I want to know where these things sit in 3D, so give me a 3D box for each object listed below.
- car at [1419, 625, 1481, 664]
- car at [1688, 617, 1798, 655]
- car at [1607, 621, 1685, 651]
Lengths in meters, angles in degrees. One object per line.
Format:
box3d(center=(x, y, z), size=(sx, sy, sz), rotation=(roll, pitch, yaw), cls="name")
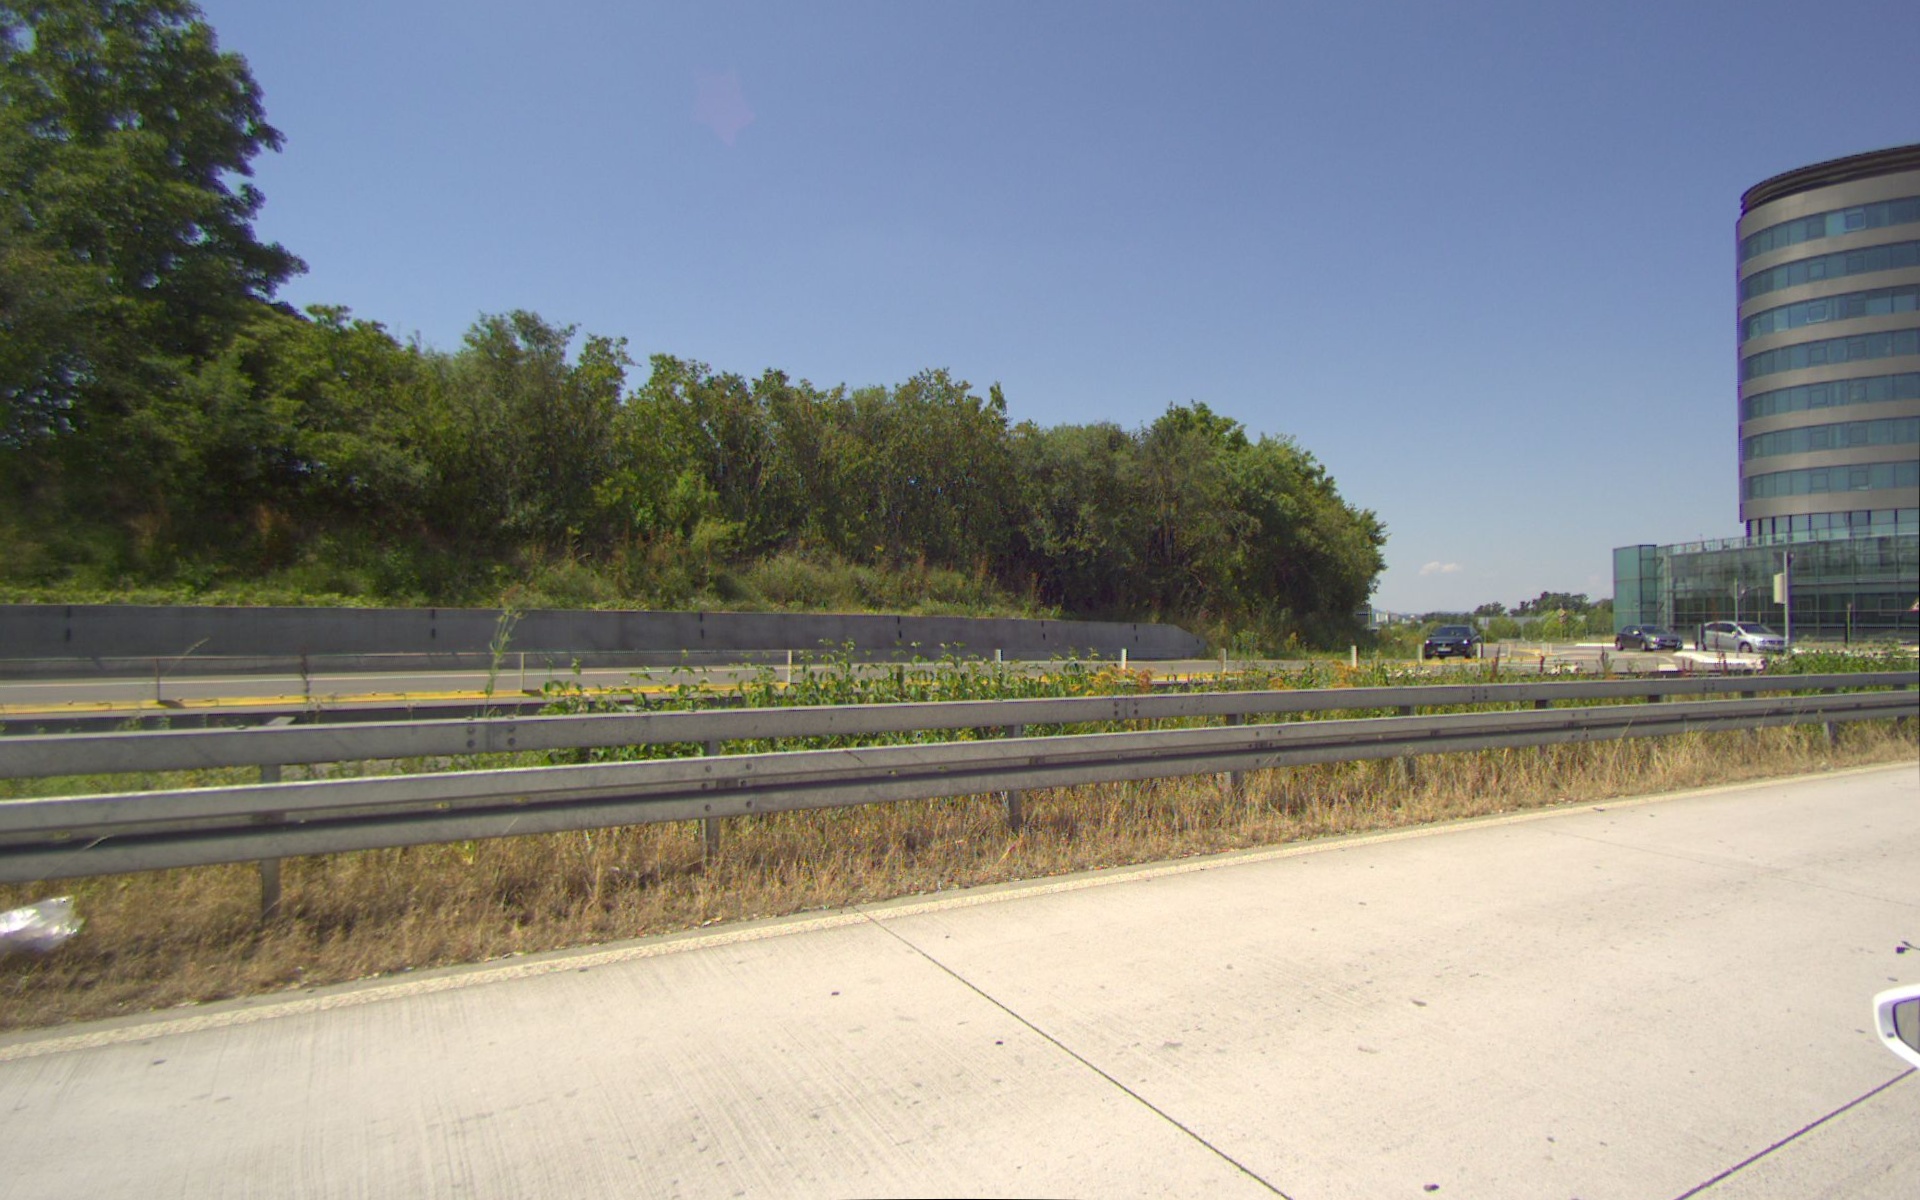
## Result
box3d(center=(20.742, 1.833, 42.429), size=(1.689, 1.504, 4.280), rotation=(2, 0, 35), cls="car")
box3d(center=(36.448, 1.694, 46.912), size=(1.742, 1.616, 4.331), rotation=(2, -2, 0), cls="car")
box3d(center=(37.189, 1.975, 54.590), size=(1.663, 1.475, 4.333), rotation=(2, -2, 6), cls="car")
